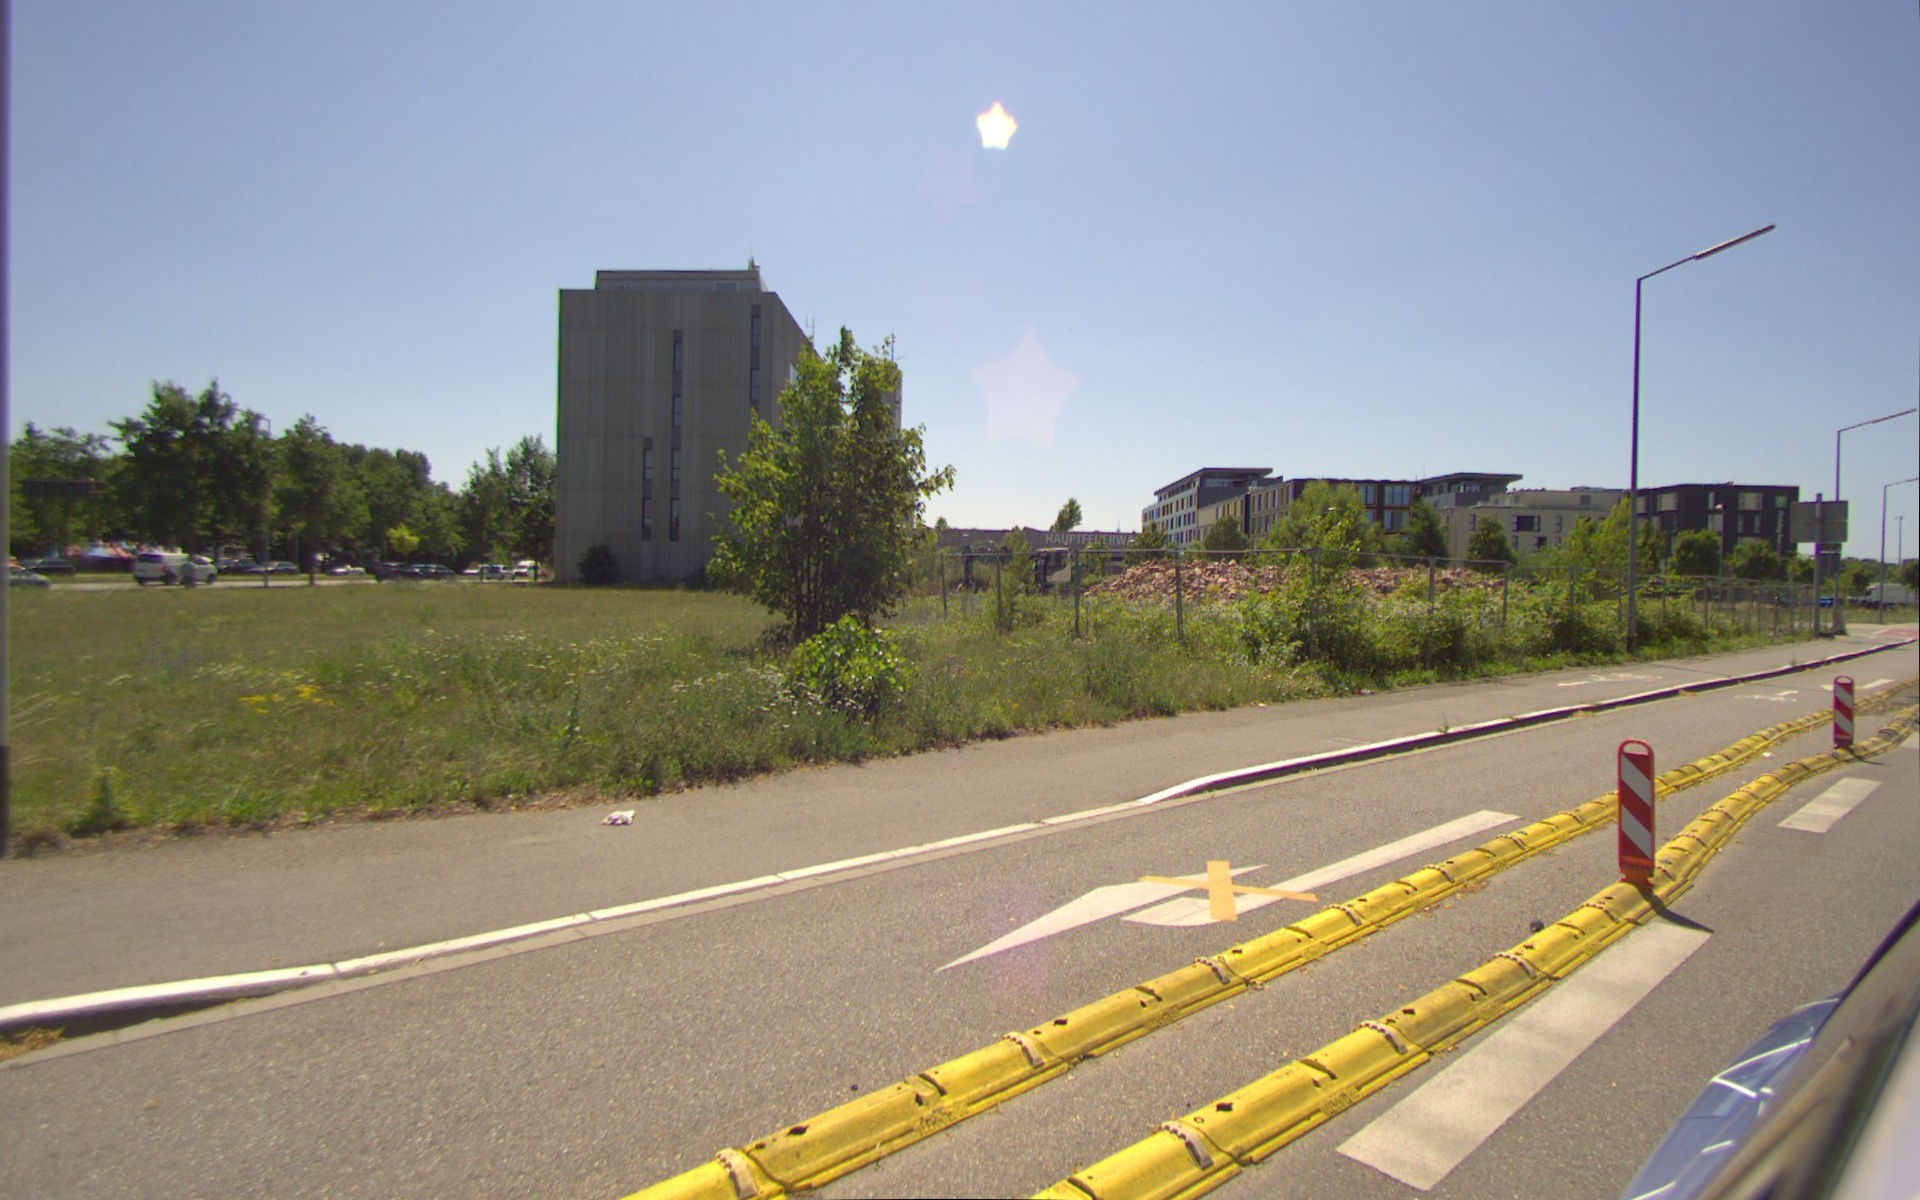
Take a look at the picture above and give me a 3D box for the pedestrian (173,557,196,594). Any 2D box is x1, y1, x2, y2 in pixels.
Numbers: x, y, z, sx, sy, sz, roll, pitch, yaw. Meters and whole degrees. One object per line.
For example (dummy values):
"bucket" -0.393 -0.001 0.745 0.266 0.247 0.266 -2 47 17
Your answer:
"pedestrian" -33.977 -1.063 44.341 0.489 1.583 0.737 0 0 -1

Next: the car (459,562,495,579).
"car" -60.741 -3.725 127.239 1.963 2.039 5.083 0 1 2

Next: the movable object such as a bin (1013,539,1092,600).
"movable object such as a bin" 4.951 -1.592 53.968 3.619 3.101 2.207 0 1 -35

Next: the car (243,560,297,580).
"car" -57.955 -2.516 85.061 1.708 1.571 3.999 0 1 1

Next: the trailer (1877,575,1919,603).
"trailer" 119.690 -1.353 126.403 8.030 3.390 1.998 1 1 4

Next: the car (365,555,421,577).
"car" -45.114 -2.701 80.573 1.962 1.616 4.447 0 1 0

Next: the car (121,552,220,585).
"car" -47.320 -1.869 60.790 1.963 1.873 4.985 0 1 2

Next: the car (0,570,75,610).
"car" -43.062 -0.469 45.775 1.961 1.727 4.942 0 1 -3

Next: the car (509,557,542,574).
"car" -56.789 -4.483 132.470 1.963 2.039 5.083 0 1 2

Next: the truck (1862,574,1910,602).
"truck" 115.894 -1.473 126.701 3.928 3.377 1.998 1 1 4

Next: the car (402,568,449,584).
"car" -47.550 -2.124 90.097 1.866 1.408 4.205 0 1 2

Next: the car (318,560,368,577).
"car" -61.533 -3.153 100.948 1.963 1.590 4.779 0 1 2

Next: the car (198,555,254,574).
"car" -61.334 -2.952 84.654 1.708 1.571 3.999 0 1 1

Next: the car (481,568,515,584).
"car" -47.777 -2.493 104.736 1.708 1.571 3.999 0 1 1

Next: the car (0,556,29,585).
"car" -58.971 -1.810 61.079 1.964 1.738 3.756 0 1 4
